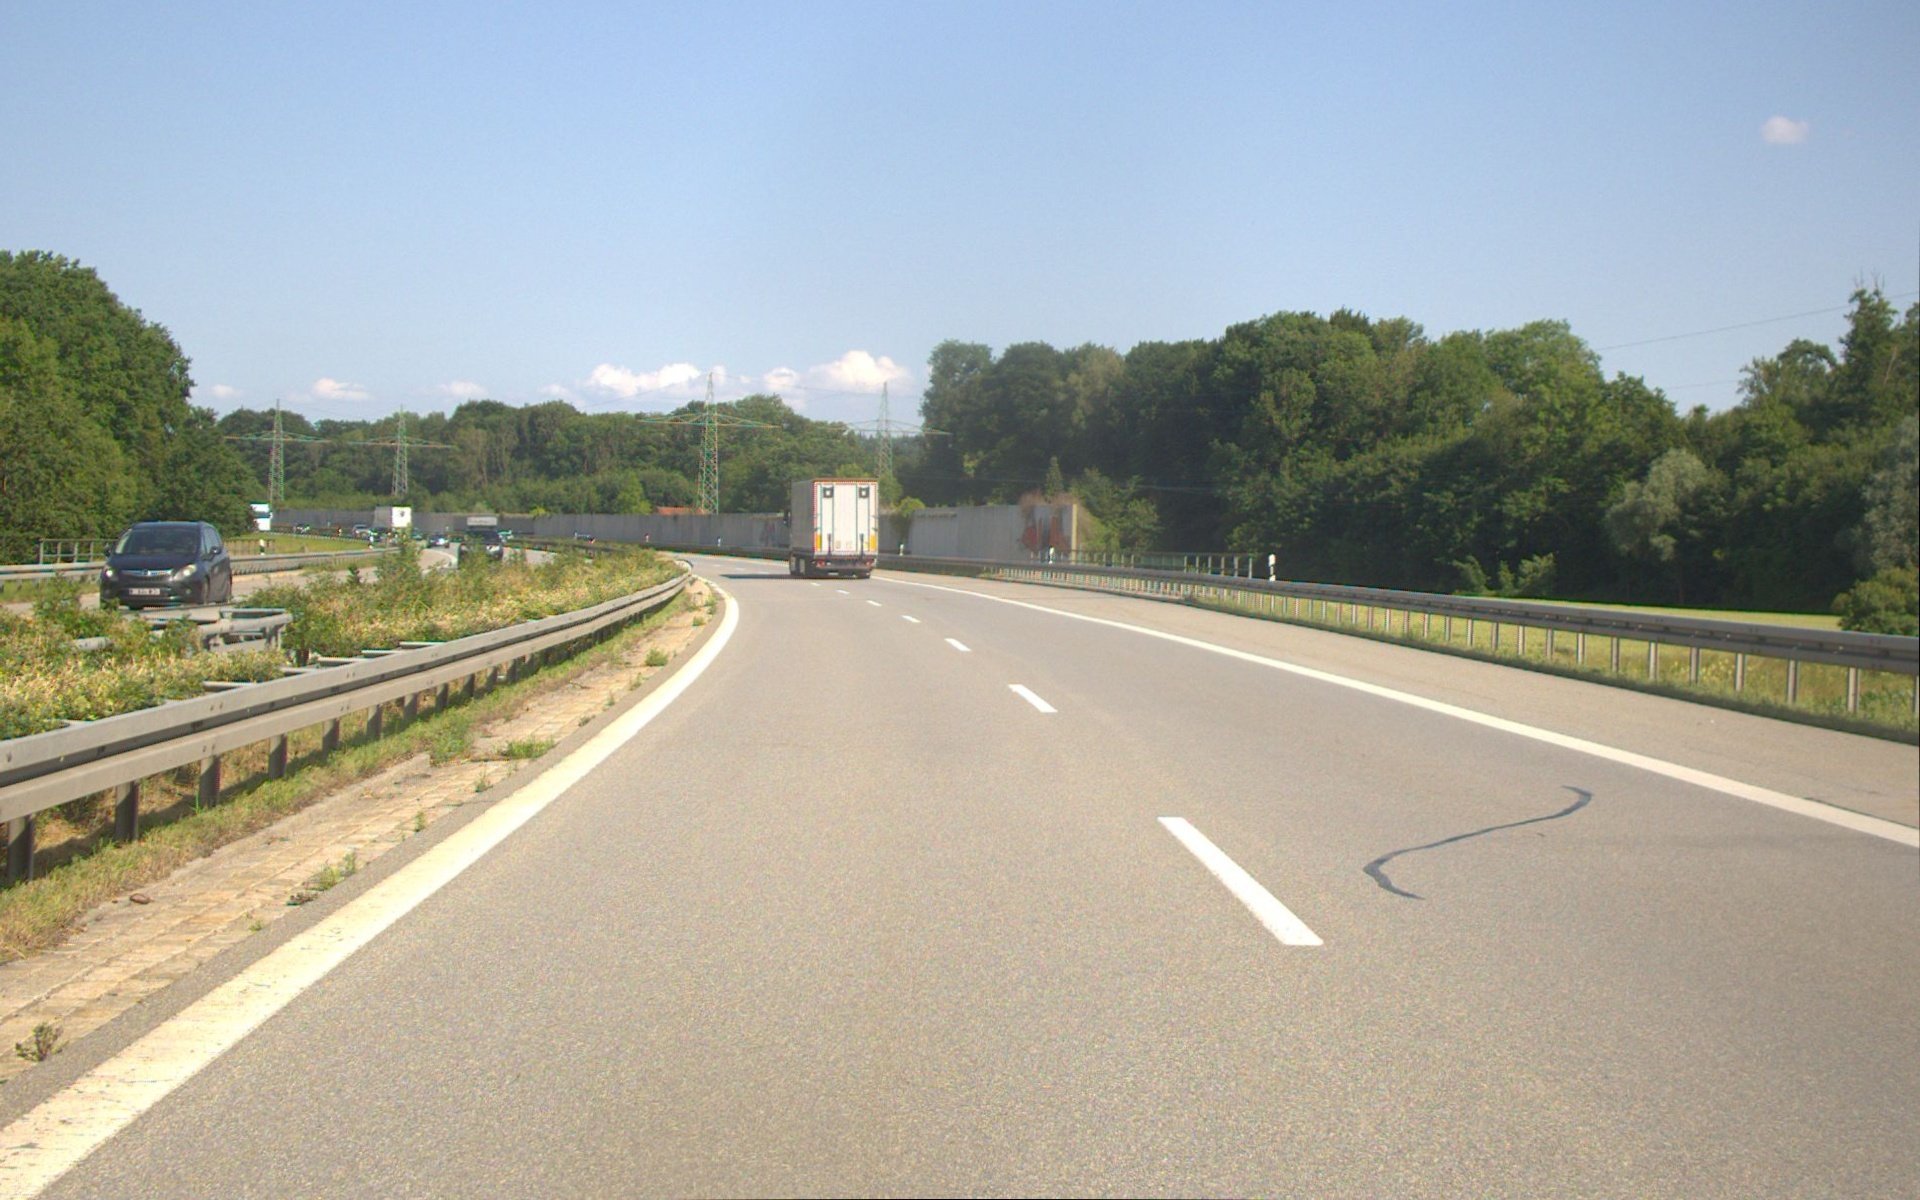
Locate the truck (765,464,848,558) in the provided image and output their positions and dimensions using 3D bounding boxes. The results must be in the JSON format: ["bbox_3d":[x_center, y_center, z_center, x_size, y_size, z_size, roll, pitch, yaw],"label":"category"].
[{"bbox_3d":[-6.699,-3.851,149.404,2.829,3.998,6.589,0,1,-9],"label":"truck"}]

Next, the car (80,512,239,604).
[{"bbox_3d":[-14.192,-0.775,61.151,1.993,1.549,4.420,-1,1,-3],"label":"car"}]

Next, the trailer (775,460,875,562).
[{"bbox_3d":[-5.682,-3.688,142.523,2.883,4.052,12.424,0,1,-8],"label":"trailer"}]

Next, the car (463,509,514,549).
[{"bbox_3d":[-20.103,-3.040,146.858,1.993,1.673,5.318,-1,1,-6],"label":"car"}]
